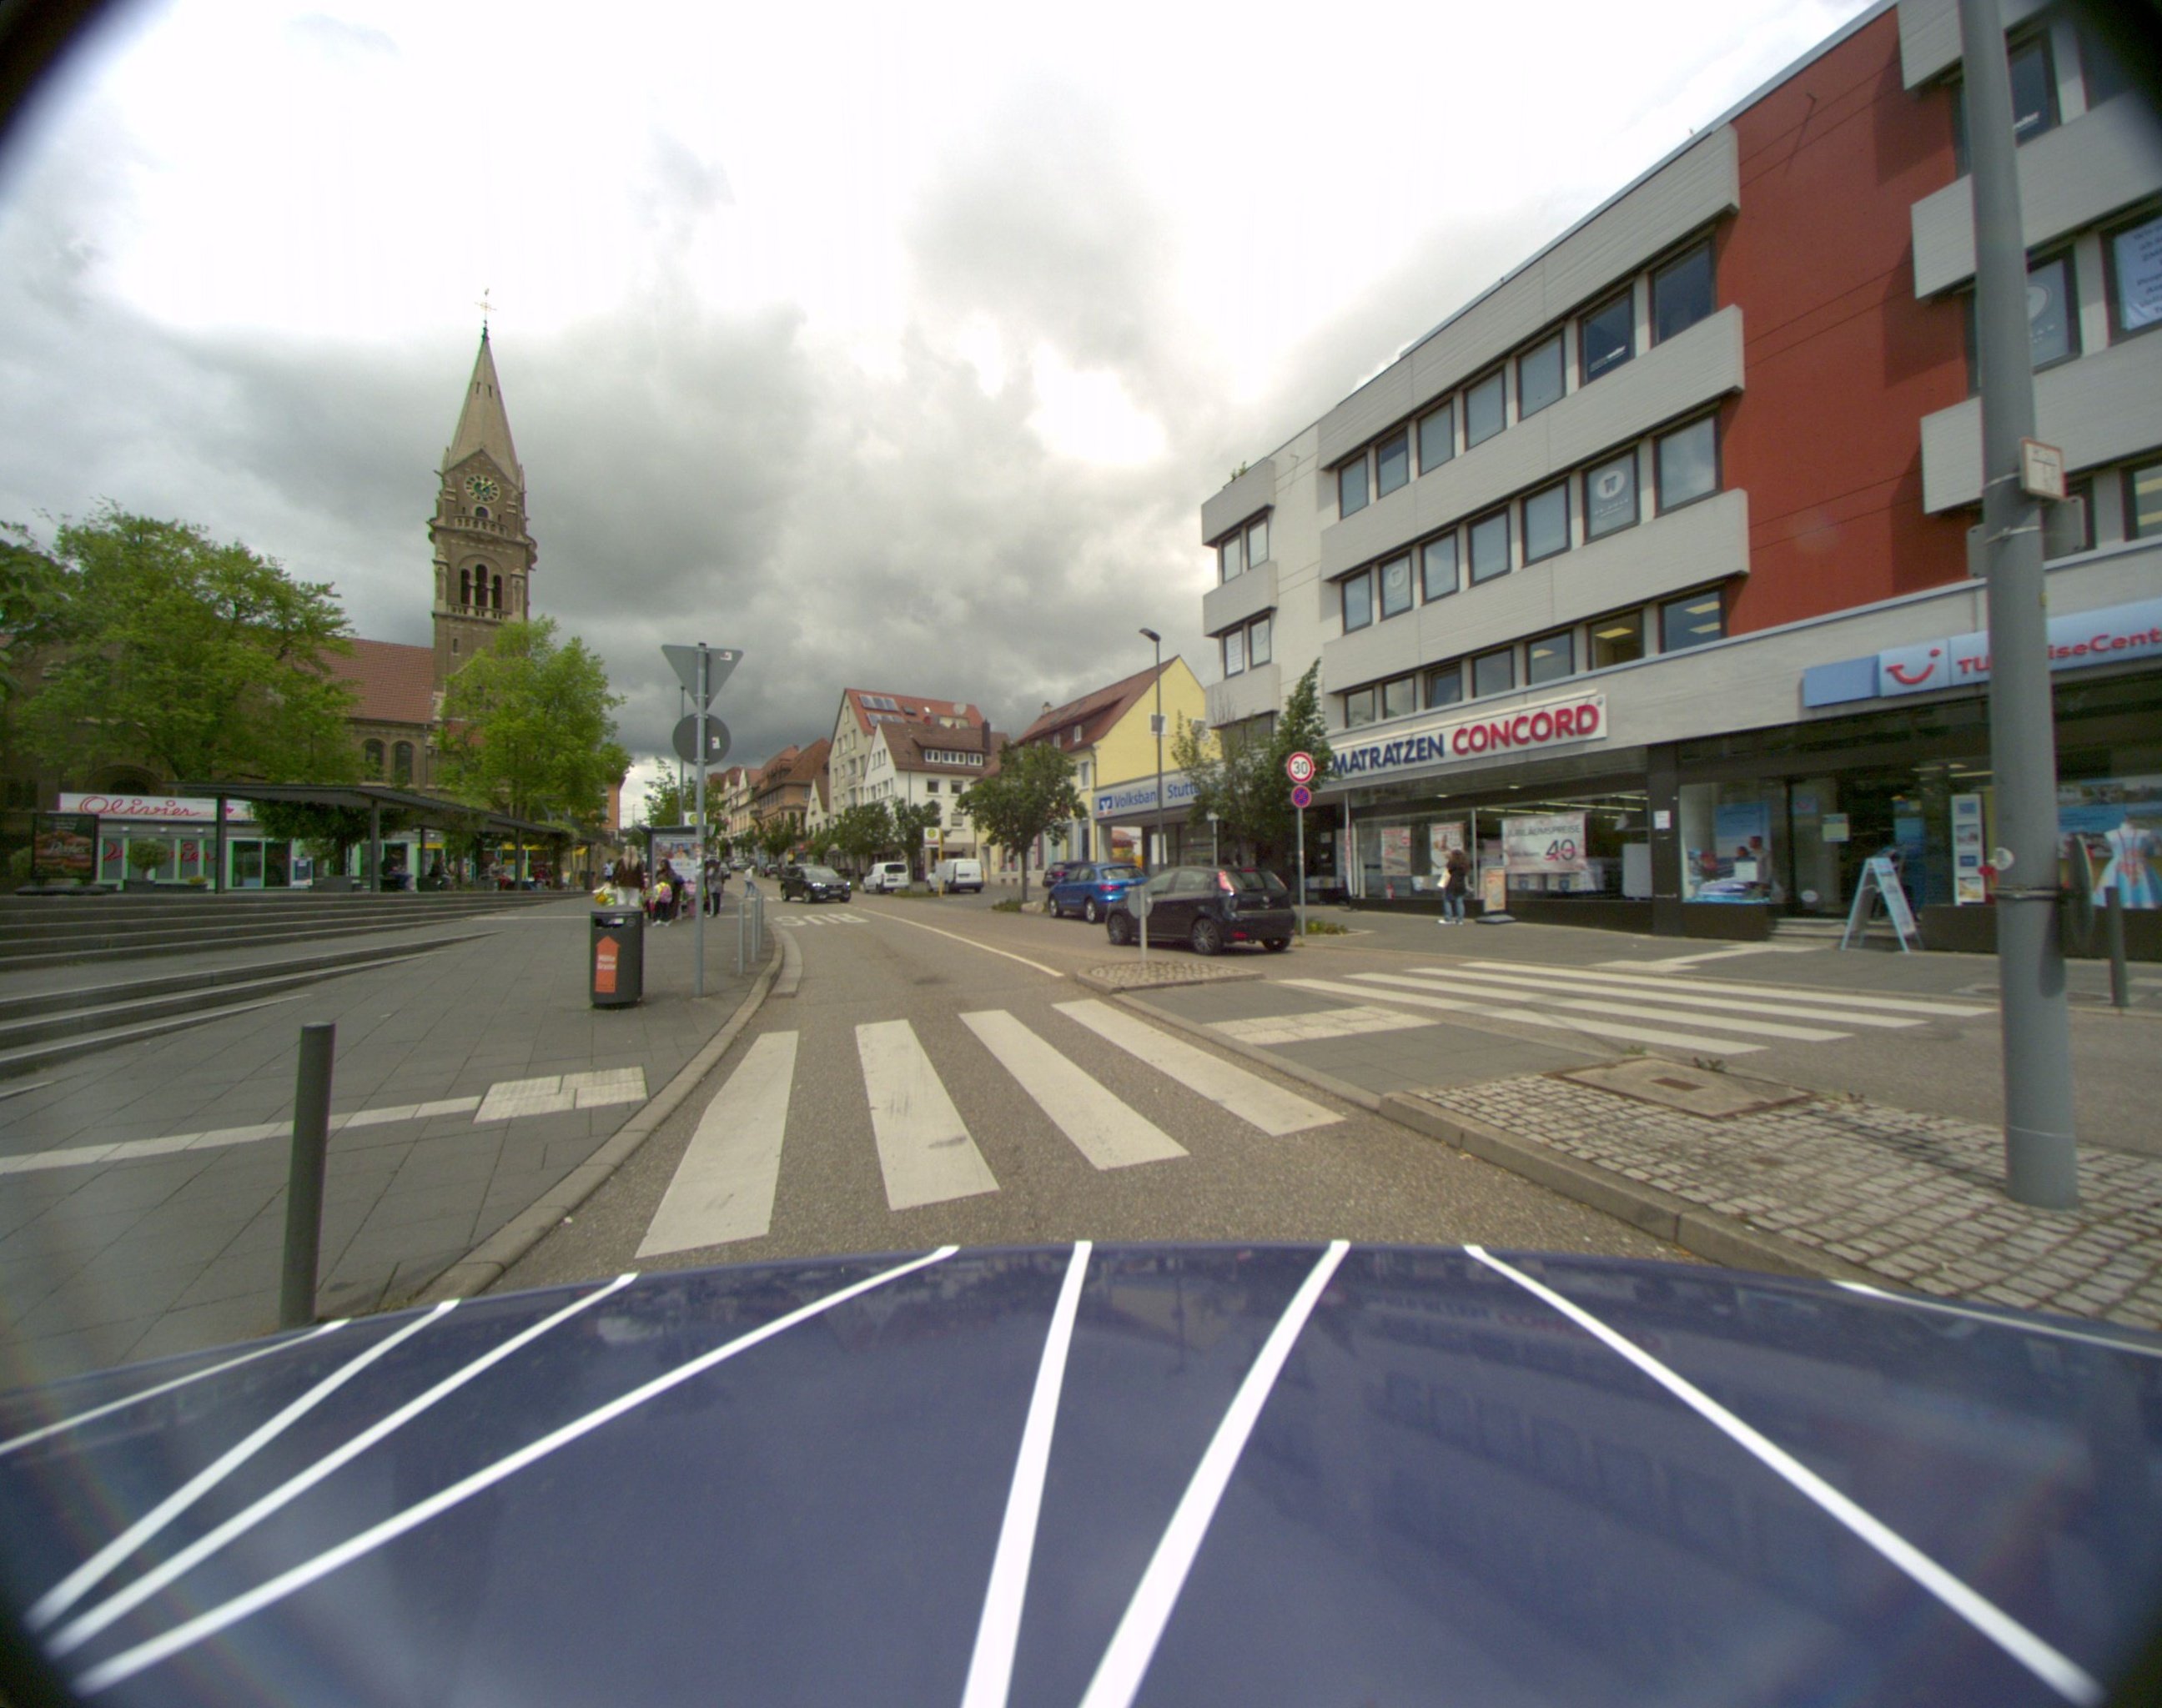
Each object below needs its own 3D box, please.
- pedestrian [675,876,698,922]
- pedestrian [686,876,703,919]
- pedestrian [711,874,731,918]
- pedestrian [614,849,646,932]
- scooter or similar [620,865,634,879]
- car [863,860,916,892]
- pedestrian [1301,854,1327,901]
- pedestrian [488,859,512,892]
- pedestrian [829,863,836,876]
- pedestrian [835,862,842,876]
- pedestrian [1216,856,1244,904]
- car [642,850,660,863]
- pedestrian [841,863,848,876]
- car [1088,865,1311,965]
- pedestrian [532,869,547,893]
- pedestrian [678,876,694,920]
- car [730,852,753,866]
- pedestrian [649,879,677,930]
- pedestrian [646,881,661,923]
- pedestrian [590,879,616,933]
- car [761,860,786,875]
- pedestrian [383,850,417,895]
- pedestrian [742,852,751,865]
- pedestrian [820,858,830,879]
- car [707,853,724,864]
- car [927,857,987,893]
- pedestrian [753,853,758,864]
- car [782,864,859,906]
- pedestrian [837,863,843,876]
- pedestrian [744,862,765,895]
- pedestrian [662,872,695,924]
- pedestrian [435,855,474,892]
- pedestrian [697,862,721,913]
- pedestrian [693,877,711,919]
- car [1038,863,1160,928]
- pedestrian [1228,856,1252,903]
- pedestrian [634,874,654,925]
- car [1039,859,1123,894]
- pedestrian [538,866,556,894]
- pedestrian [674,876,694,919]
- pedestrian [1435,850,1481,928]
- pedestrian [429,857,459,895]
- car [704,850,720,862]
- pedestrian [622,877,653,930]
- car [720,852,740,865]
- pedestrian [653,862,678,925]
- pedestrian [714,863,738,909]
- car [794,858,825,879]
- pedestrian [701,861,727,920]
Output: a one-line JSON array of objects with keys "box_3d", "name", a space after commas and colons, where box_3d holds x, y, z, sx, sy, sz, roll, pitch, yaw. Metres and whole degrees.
[{"box_3d": [-10.246, 1.170, 19.726, 0.350, 1.160, 0.336, 3, 0, 32], "name": "pedestrian"}, {"box_3d": [-10.490, 1.187, 20.643, 0.270, 1.153, 0.265, 1, -1, 23], "name": "pedestrian"}, {"box_3d": [-10.169, 1.172, 21.464, 0.404, 1.219, 0.388, 1, -1, -5], "name": "pedestrian"}, {"box_3d": [-10.030, 0.807, 16.904, 0.542, 1.812, 0.434, 2, -1, -31], "name": "pedestrian"}, {"box_3d": [-36.735, 1.476, 61.478, 0.815, 1.066, 0.559, 1, 1, -21], "name": "scooter or similar"}, {"box_3d": [-10.731, 1.191, 42.319, 1.664, 1.662, 4.340, -2, 0, -31], "name": "car"}, {"box_3d": [8.522, 0.850, 27.794, 0.646, 1.694, 0.585, 1, -3, -37], "name": "pedestrian"}, {"box_3d": [-23.061, 0.847, 30.177, 0.626, 1.299, 0.545, 1, -1, -23], "name": "pedestrian"}, {"box_3d": [-23.691, 1.486, 72.478, 0.552, 1.260, 0.597, -1, 2, -32], "name": "pedestrian"}, {"box_3d": [-22.801, 1.417, 71.439, 0.423, 1.292, 0.453, -1, 1, -32], "name": "pedestrian"}, {"box_3d": [4.859, 0.841, 24.832, 0.646, 1.557, 0.585, 1, -1, -31], "name": "pedestrian"}, {"box_3d": [-57.666, 0.314, 101.853, 1.821, 1.439, 3.934, 3, 0, -34], "name": "car"}, {"box_3d": [-22.335, 1.434, 71.719, 0.429, 1.242, 0.565, -1, 1, -32], "name": "pedestrian"}, {"box_3d": [1.920, 0.945, 13.579, 1.706, 1.411, 4.109, -2, 1, -31], "name": "car"}, {"box_3d": [-24.312, 1.207, 34.111, 0.478, 1.082, 0.368, 0, -3, -23], "name": "pedestrian"}, {"box_3d": [-10.584, 1.175, 20.366, 0.250, 1.167, 0.253, 1, -1, 21], "name": "pedestrian"}, {"box_3d": [-40.587, 0.614, 90.903, 1.734, 1.564, 4.442, -1, 2, -34], "name": "car"}, {"box_3d": [-9.689, 1.170, 17.613, 0.477, 1.165, 0.390, 2, -1, -36], "name": "pedestrian"}, {"box_3d": [-10.966, 1.223, 19.500, 0.251, 1.062, 0.252, 2, -1, -16], "name": "pedestrian"}, {"box_3d": [-10.489, 1.135, 16.665, 0.441, 1.141, 0.382, 2, -1, -30], "name": "pedestrian"}, {"box_3d": [-31.166, 1.361, 76.904, 1.665, 1.384, 4.432, 0, 1, -32], "name": "car"}, {"box_3d": [-20.223, 0.540, 22.565, 0.570, 1.316, 0.544, -1, 0, -17], "name": "pedestrian"}, {"box_3d": [-43.809, 0.552, 99.519, 0.875, 1.657, 0.904, -1, 2, -35], "name": "pedestrian"}, {"box_3d": [-22.881, 1.289, 67.899, 0.663, 1.751, 0.776, -1, 2, -31], "name": "pedestrian"}, {"box_3d": [-52.094, 0.580, 108.367, 1.736, 1.423, 3.493, 0, 2, -33], "name": "car"}, {"box_3d": [-6.759, 1.077, 41.044, 1.764, 1.803, 4.466, -2, 1, -30], "name": "car"}, {"box_3d": [-42.329, 0.584, 98.812, 0.498, 1.469, 0.527, -1, 2, -35], "name": "pedestrian"}, {"box_3d": [-11.306, 1.267, 32.841, 1.899, 1.516, 3.724, -2, 3, -40], "name": "car"}, {"box_3d": [-23.107, 1.450, 72.802, 0.397, 1.242, 0.498, -1, 1, -32], "name": "pedestrian"}, {"box_3d": [-16.682, 1.260, 38.865, 0.685, 1.672, 0.715, 0, 0, 12], "name": "pedestrian"}, {"box_3d": [-10.181, 1.106, 19.240, 0.598, 1.296, 0.434, 2, -1, 29], "name": "pedestrian"}, {"box_3d": [-21.494, 0.667, 26.066, 0.770, 1.261, 0.677, -1, 0, 9], "name": "pedestrian"}, {"box_3d": [-11.575, 1.037, 23.629, 0.496, 1.556, 0.502, 0, -1, 45], "name": "pedestrian"}, {"box_3d": [-10.443, 1.204, 20.951, 0.298, 1.145, 0.294, 1, -1, 18], "name": "pedestrian"}, {"box_3d": [0.394, 1.089, 21.799, 1.702, 1.590, 4.323, -3, 1, -25], "name": "car"}, {"box_3d": [5.283, 0.838, 25.273, 0.512, 1.557, 0.585, 1, -1, -26], "name": "pedestrian"}, {"box_3d": [-10.661, 1.103, 18.534, 0.324, 1.230, 0.333, 2, -1, -23], "name": "pedestrian"}, {"box_3d": [0.003, 1.037, 36.618, 3.645, 1.549, 1.665, -1, 0, -29], "name": "car"}, {"box_3d": [-24.366, 1.185, 34.676, 0.571, 1.254, 0.541, 0, -3, -23], "name": "pedestrian"}, {"box_3d": [-10.839, 1.184, 20.737, 0.321, 1.145, 0.319, 1, -1, 24], "name": "pedestrian"}, {"box_3d": [7.880, 0.706, 15.879, 0.590, 1.579, 0.637, -2, 1, -32], "name": "pedestrian"}, {"box_3d": [-21.221, 0.725, 25.317, 0.570, 1.220, 0.565, -1, 0, -17], "name": "pedestrian"}, {"box_3d": [-55.807, 0.343, 114.893, 1.736, 1.670, 3.981, 0, 2, -33], "name": "car"}, {"box_3d": [-10.237, 1.125, 17.545, 0.390, 1.191, 0.511, 1, -1, -2], "name": "pedestrian"}, {"box_3d": [-44.770, 0.602, 96.938, 1.672, 1.518, 3.952, -2, 3, -34], "name": "car"}, {"box_3d": [-10.013, 0.943, 18.318, 0.392, 1.508, 0.388, 2, -1, -43], "name": "pedestrian"}, {"box_3d": [-12.073, 1.068, 25.860, 0.543, 1.540, 0.487, 0, -1, 17], "name": "pedestrian"}, {"box_3d": [-22.759, 1.147, 63.631, 1.673, 1.637, 4.123, -2, 1, -30], "name": "car"}, {"box_3d": [-10.085, 0.994, 20.894, 0.387, 1.610, 0.470, 1, -1, 21], "name": "pedestrian"}]
